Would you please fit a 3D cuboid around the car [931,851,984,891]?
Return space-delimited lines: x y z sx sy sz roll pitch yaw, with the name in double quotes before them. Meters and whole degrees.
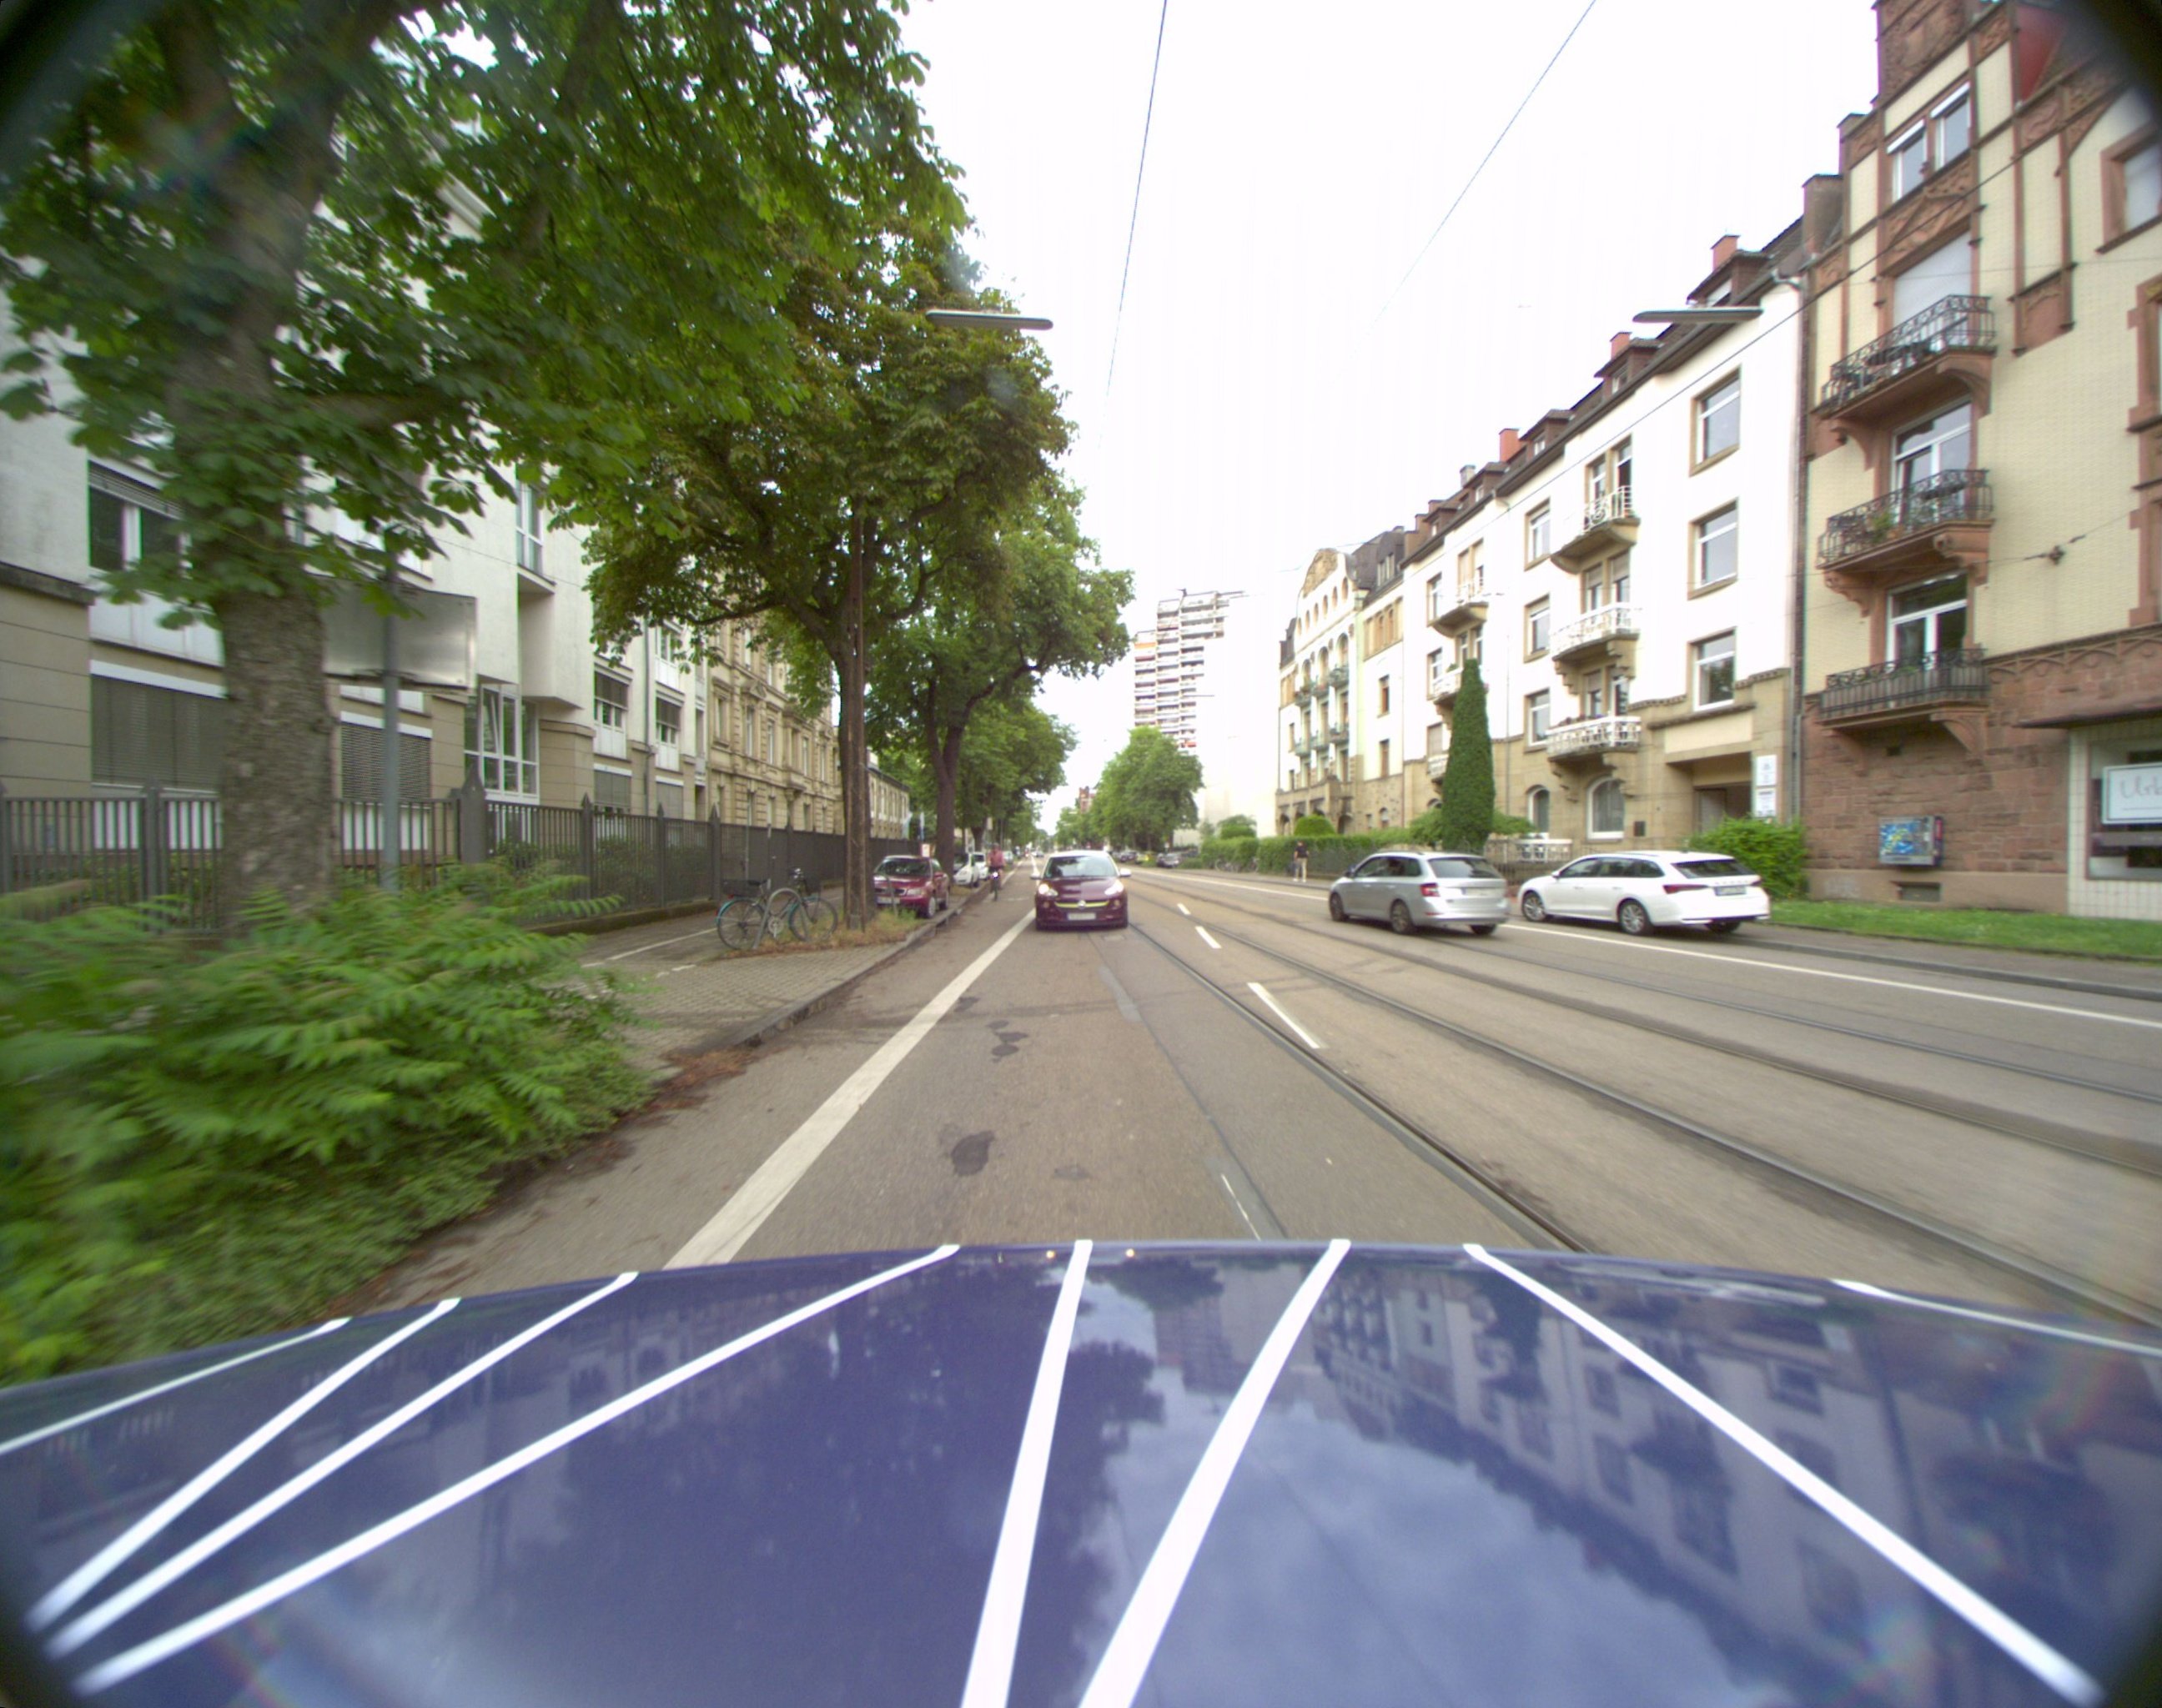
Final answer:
"car" -4.881 0.617 30.371 1.606 1.427 3.775 2 1 -2

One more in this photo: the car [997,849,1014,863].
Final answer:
"car" -7.889 0.179 79.734 1.606 1.362 3.835 2 1 -3

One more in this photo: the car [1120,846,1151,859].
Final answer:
"car" 6.706 -0.218 93.641 1.690 1.611 4.008 1 1 43

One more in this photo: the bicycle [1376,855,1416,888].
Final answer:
"bicycle" 10.971 0.604 26.497 0.386 1.095 1.623 0 1 -15

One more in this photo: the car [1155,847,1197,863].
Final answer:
"car" 8.882 0.065 70.795 4.008 1.395 1.690 0 1 -43

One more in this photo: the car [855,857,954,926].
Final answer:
"car" -4.147 0.808 18.477 1.606 1.391 4.225 2 1 -3

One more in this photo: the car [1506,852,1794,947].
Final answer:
"car" 10.346 0.710 14.382 1.752 1.476 4.607 0 1 -4

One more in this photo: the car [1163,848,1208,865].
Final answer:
"car" 8.945 0.178 64.792 4.008 1.395 1.690 0 1 -43

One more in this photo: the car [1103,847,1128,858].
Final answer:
"car" 5.368 -0.291 116.862 1.690 1.611 4.008 1 1 43

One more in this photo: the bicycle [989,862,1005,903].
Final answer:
"bicycle" -2.631 0.869 23.916 0.414 1.197 1.706 0 1 -3

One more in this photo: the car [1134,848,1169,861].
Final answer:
"car" 7.840 0.024 83.975 1.690 1.434 4.008 1 1 43

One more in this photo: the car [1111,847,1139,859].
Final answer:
"car" 6.218 -0.180 107.211 1.690 1.611 4.008 1 1 43

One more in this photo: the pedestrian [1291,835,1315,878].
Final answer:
"pedestrian" 9.501 0.112 32.554 0.670 1.833 0.882 0 1 -4

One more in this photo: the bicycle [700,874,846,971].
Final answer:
"bicycle" -4.382 0.934 10.951 0.432 1.191 1.908 1 3 42

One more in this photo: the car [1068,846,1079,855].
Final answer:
"car" -1.273 -0.534 126.234 1.613 1.414 3.484 1 1 -6

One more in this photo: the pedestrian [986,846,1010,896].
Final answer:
"pedestrian" -2.587 0.506 23.759 0.684 1.541 0.704 0 1 -3

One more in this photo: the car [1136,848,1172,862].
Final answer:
"car" 7.800 0.109 80.919 1.690 1.387 4.008 1 1 43

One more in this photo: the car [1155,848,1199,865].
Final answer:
"car" 8.586 0.201 67.608 4.008 1.395 1.690 0 1 -43

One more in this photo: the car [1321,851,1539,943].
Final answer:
"car" 6.090 0.671 13.855 1.694 1.402 3.996 1 1 -8

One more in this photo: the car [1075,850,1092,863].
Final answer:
"car" 0.275 0.317 92.607 1.703 1.488 3.928 1 1 -5

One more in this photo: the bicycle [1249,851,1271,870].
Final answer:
"bicycle" 10.919 0.378 46.343 1.206 1.077 0.300 -2 1 -2

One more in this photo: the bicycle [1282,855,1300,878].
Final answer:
"bicycle" 10.334 0.612 37.451 0.360 1.077 1.546 0 1 -3

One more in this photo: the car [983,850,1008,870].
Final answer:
"car" -6.404 0.436 57.340 1.606 1.362 3.835 2 1 -3

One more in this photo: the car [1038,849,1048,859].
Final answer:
"car" -8.328 -0.049 167.559 1.999 2.002 3.999 -1 1 -1

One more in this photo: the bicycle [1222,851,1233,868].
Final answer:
"bicycle" 9.552 0.347 49.649 0.360 1.077 1.546 0 1 -3

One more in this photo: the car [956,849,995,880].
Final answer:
"car" -5.355 0.505 38.810 1.632 1.427 3.763 2 1 -3

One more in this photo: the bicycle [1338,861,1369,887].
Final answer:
"bicycle" 10.868 0.781 30.338 0.358 0.924 1.661 19 0 -1

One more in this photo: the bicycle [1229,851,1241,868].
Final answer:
"bicycle" 9.660 0.344 47.744 0.360 1.077 1.546 0 1 -3

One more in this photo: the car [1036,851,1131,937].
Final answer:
"car" -0.031 0.687 15.140 1.606 1.427 3.775 -2 1 -2
